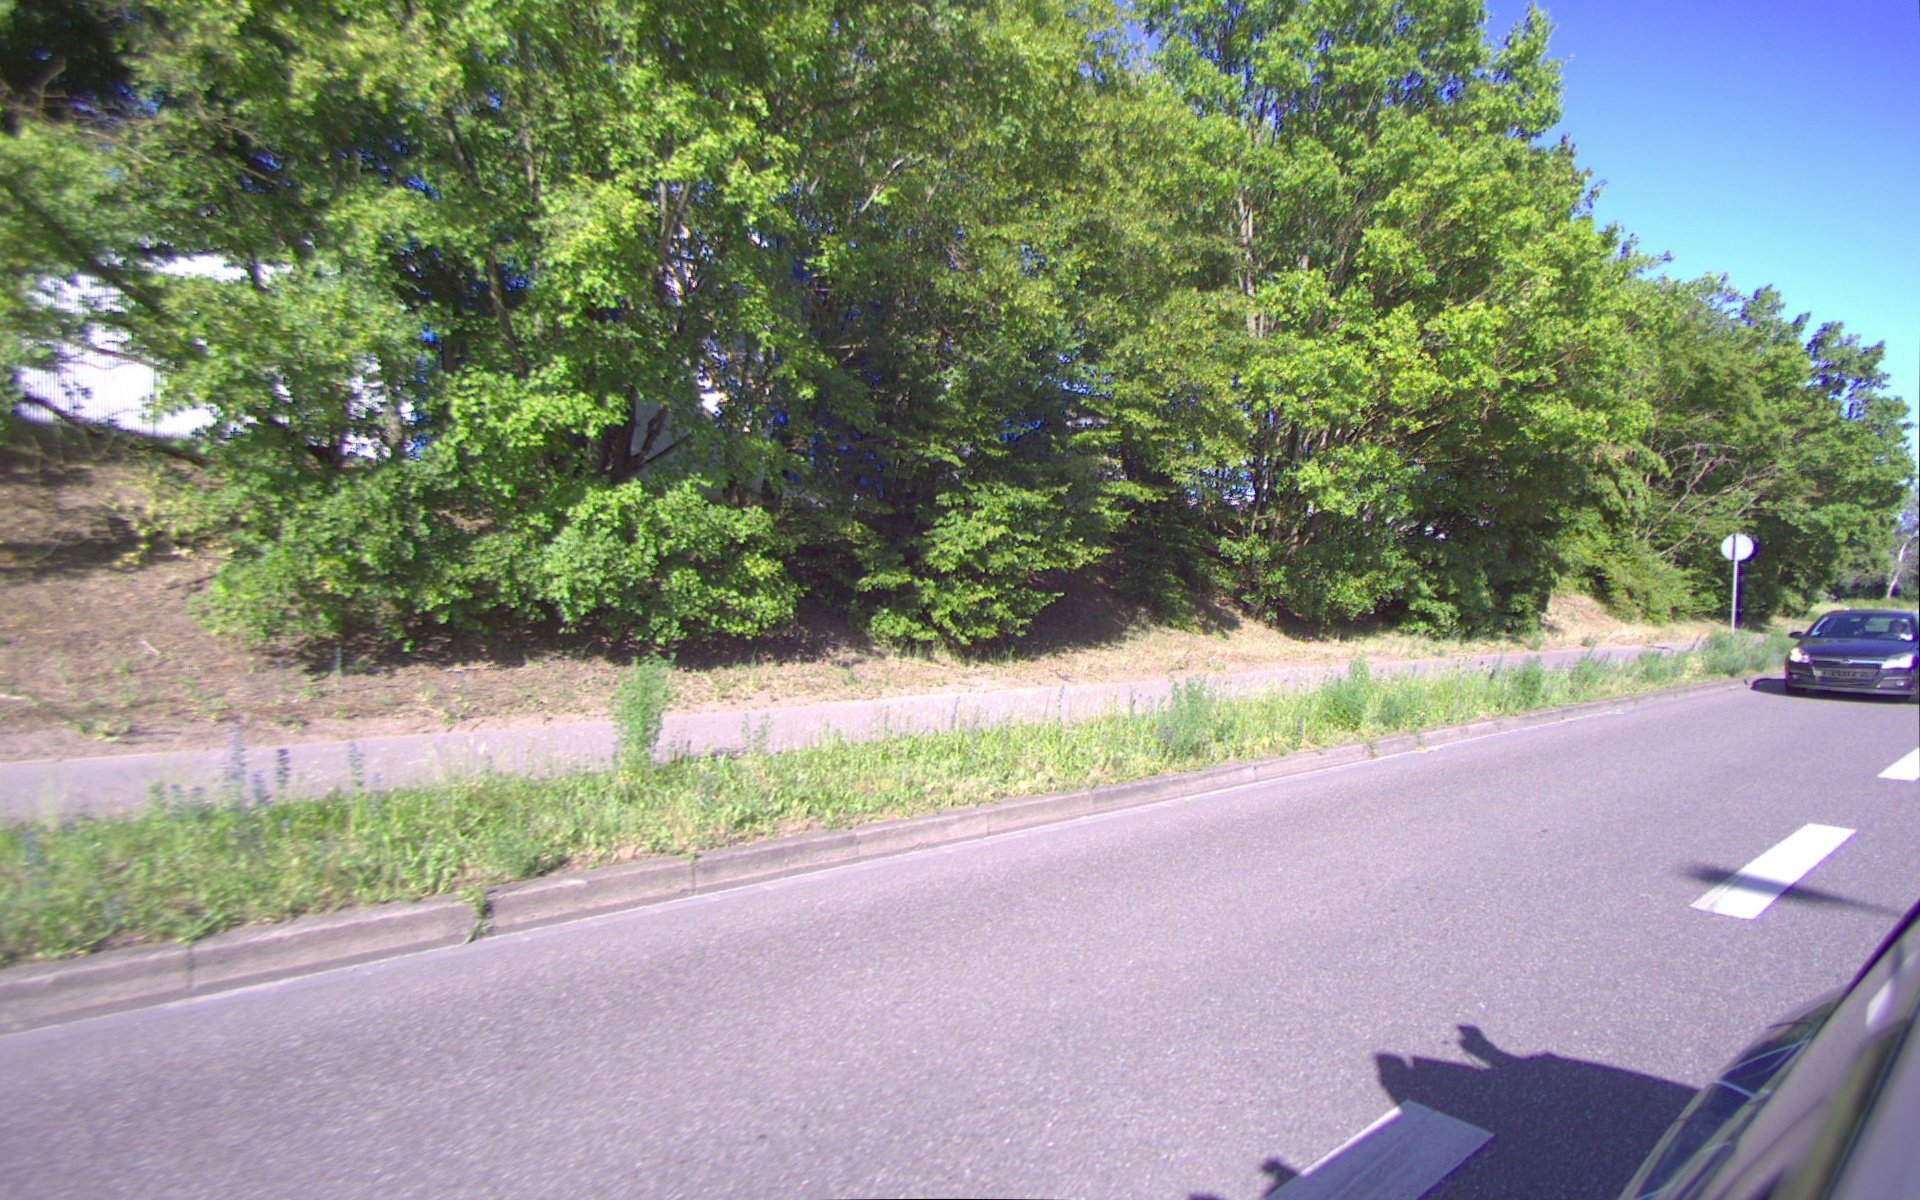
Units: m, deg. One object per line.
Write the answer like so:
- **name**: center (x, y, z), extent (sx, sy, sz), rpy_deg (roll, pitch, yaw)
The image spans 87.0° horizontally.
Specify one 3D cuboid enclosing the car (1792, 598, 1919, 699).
- **car**: center (15.463, 0.734, 16.948), extent (3.889, 1.473, 1.706), rpy_deg (0, 1, -40)
